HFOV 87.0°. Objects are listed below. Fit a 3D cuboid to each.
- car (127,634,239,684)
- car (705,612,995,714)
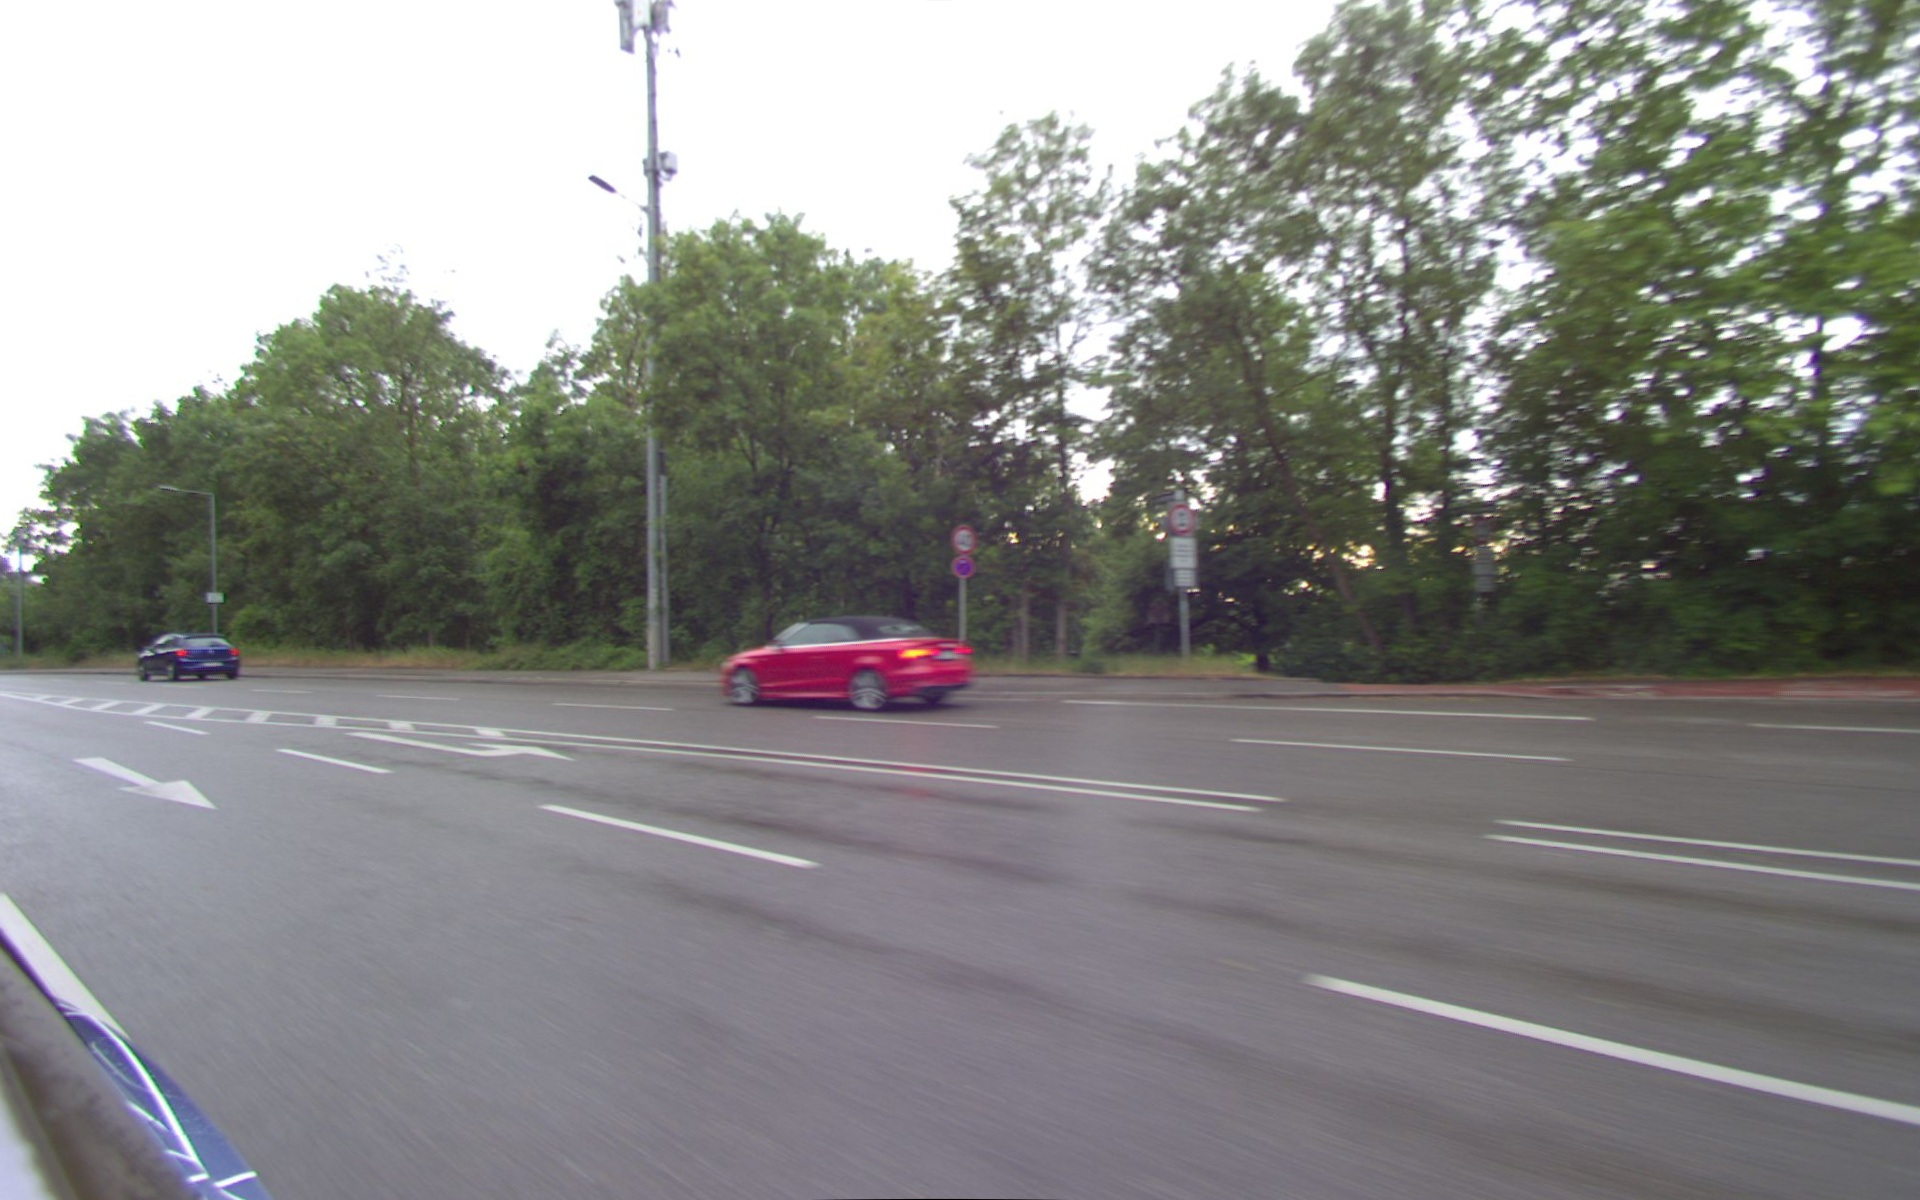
[{"bbox_3d":[-23.960,1.788,31.172,3.991,1.405,1.617,-2,-2,35],"label":"car"},{"bbox_3d":[-1.792,0.944,15.858,4.373,1.384,1.859,-2,-2,35],"label":"car"}]
